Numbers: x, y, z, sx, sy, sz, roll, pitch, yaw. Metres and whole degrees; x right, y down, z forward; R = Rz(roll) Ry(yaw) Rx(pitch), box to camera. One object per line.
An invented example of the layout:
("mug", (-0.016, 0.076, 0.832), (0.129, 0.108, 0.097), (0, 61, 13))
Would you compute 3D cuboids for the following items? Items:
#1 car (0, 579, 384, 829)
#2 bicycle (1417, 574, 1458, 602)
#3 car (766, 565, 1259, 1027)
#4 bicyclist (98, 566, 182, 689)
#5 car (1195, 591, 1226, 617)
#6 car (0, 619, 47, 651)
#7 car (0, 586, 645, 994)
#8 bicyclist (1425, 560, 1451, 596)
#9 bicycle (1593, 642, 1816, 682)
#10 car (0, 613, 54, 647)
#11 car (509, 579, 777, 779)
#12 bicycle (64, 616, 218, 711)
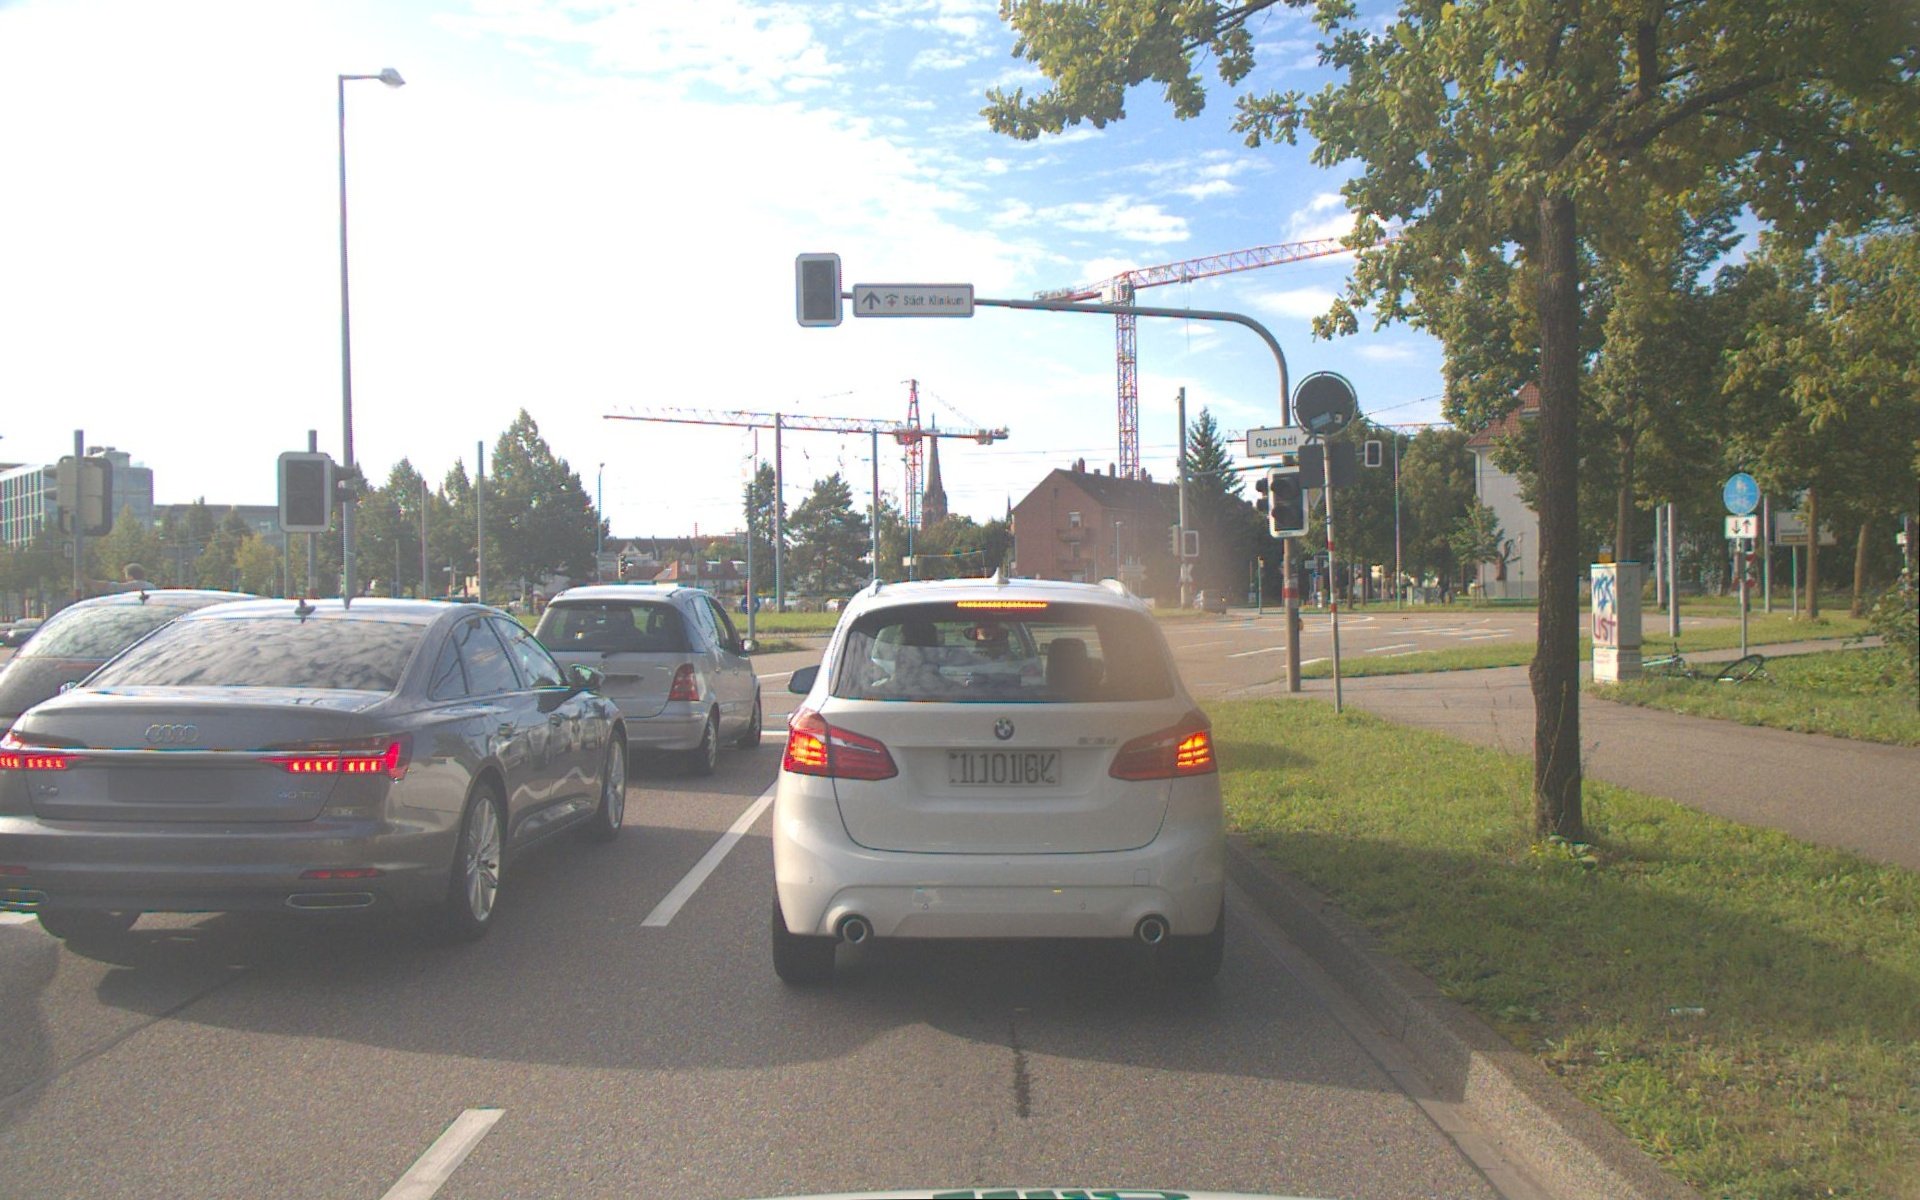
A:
("car", (-5.699, 0.642, 12.162), (1.646, 1.549, 3.809), (0, 0, -1))
("bicycle", (27.599, -0.660, 95.607), (0.884, 1.557, 2.266), (2, -1, -30))
("car", (0.150, 0.668, 7.728), (1.694, 1.585, 4.057), (0, 0, -1))
("bicyclist", (-10.716, 0.351, 21.639), (0.835, 1.553, 0.737), (-1, 0, -17))
("car", (15.555, 0.248, 102.906), (1.537, 1.601, 3.199), (-1, 0, 3))
("car", (-54.233, 2.011, 95.746), (1.697, 1.721, 3.943), (-1, -1, -39))
("car", (-2.944, 0.716, 8.442), (1.851, 1.509, 4.612), (0, 0, -1))
("bicyclist", (27.618, -1.263, 95.581), (0.811, 2.049, 1.212), (2, -2, -31))
("bicycle", (9.477, 0.778, 21.219), (1.382, 0.392, 2.569), (-1, 0, -12))
("car", (-46.820, 1.485, 82.838), (1.759, 1.602, 3.979), (-1, 0, -18))
("car", (-2.745, 0.624, 15.188), (1.694, 1.585, 4.057), (0, 0, -1))
("bicycle", (-10.693, 0.811, 21.644), (1.698, 1.184, 0.653), (-1, 0, -17))
